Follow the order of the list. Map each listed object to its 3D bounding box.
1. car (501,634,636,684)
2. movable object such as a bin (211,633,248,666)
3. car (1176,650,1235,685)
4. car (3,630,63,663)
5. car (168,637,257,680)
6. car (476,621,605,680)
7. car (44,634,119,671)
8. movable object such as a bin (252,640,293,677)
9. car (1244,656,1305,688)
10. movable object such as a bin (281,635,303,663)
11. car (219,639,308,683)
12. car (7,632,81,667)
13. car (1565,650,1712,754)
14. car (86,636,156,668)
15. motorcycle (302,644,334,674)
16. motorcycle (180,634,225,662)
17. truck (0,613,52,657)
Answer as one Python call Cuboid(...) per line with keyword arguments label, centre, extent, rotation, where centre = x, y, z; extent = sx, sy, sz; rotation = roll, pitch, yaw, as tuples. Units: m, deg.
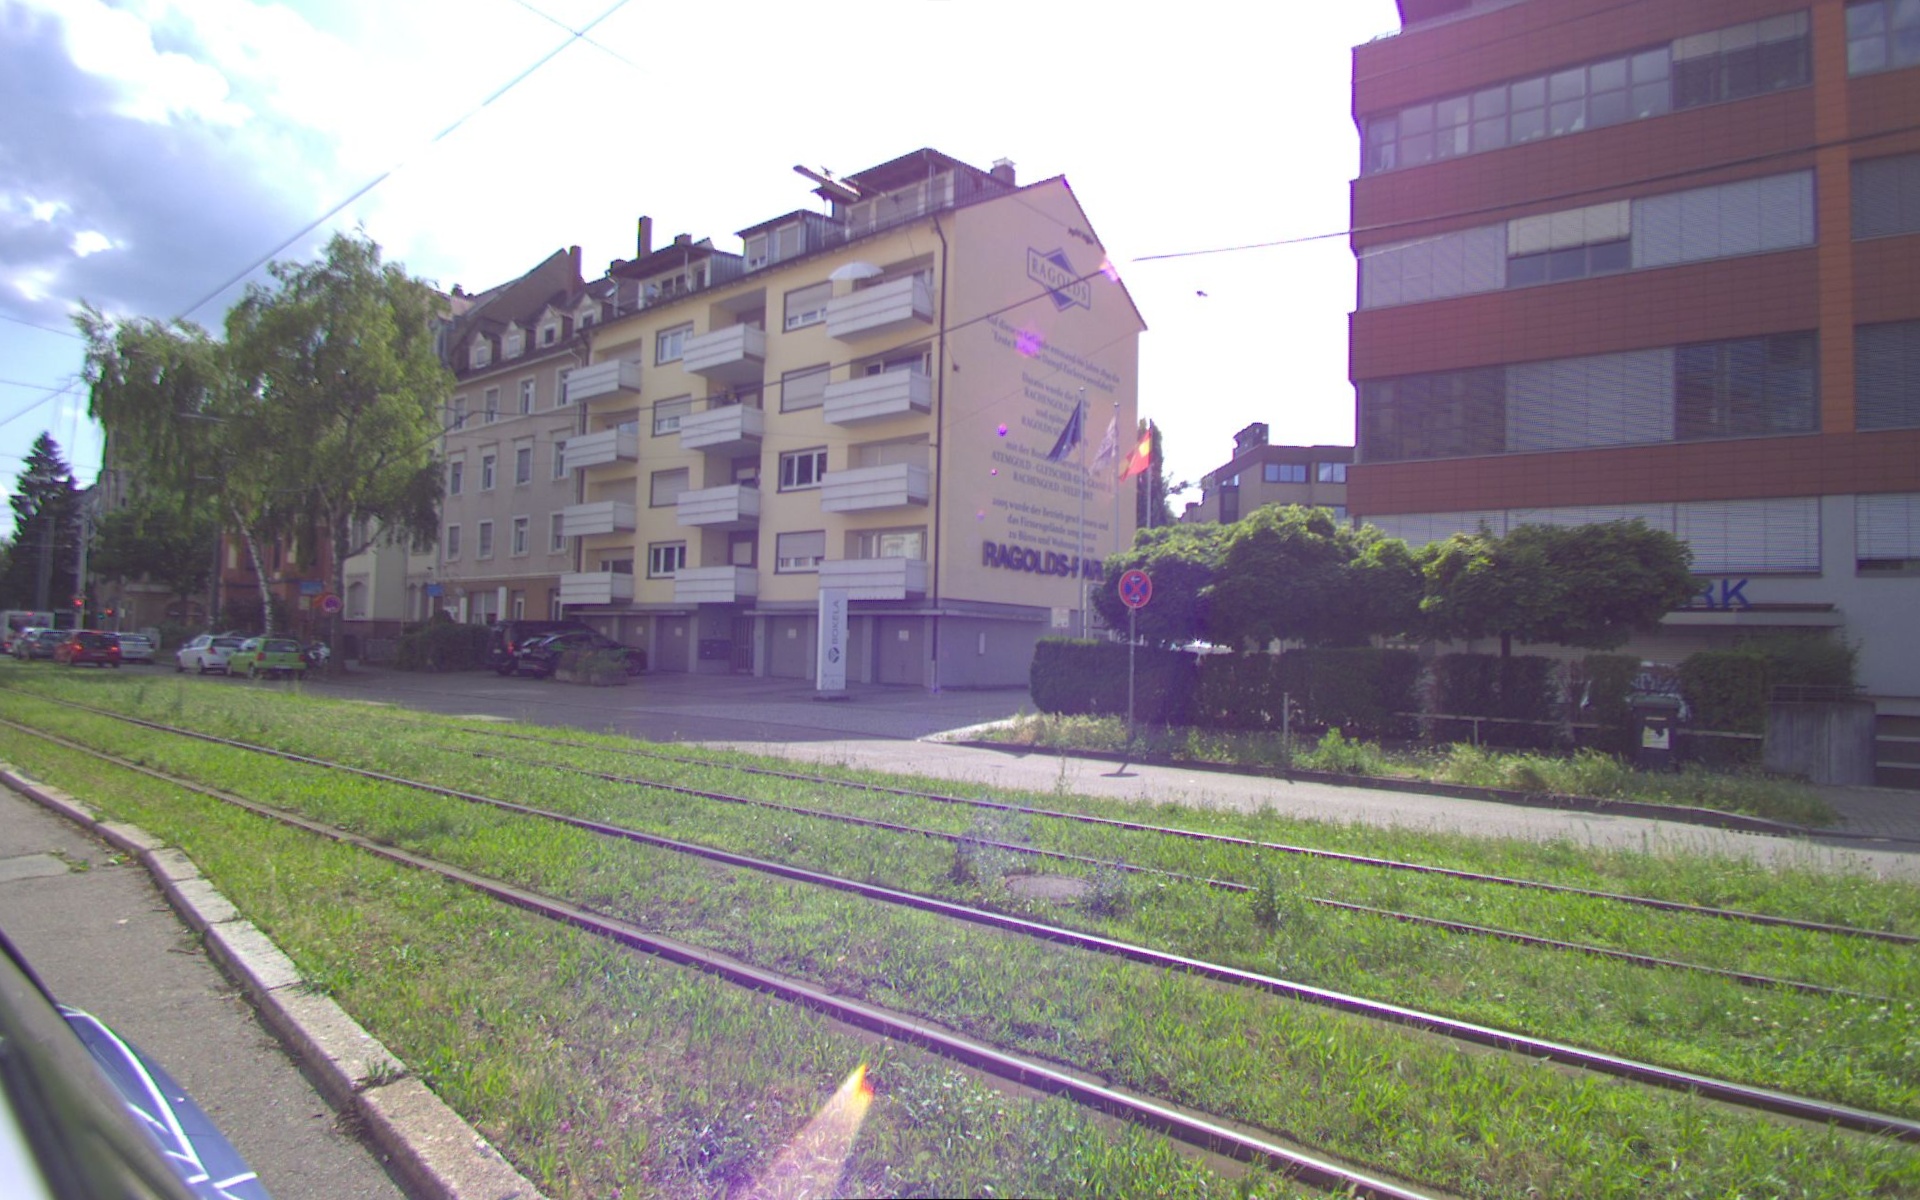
Cuboid(label="car", centre=(-13.583, 2.012, 35.260), extent=(1.970, 1.614, 3.948), rotation=(-1, -2, 38))
Cuboid(label="movable object such as a bin", centre=(-32.885, 2.206, 45.545), extent=(1.519, 1.377, 0.942), rotation=(-1, 1, 38))
Cuboid(label="car", centre=(13.366, 3.675, 55.369), extent=(1.743, 1.827, 4.007), rotation=(2, -3, -9))
Cuboid(label="car", centre=(-45.339, 2.263, 49.462), extent=(4.133, 1.425, 1.736), rotation=(-1, -6, 43))
Cuboid(label="car", centre=(-28.572, 2.201, 38.636), extent=(4.221, 1.489, 1.628), rotation=(-1, -6, 39))
Cuboid(label="car", centre=(-15.382, 1.821, 37.224), extent=(1.936, 2.029, 3.944), rotation=(-1, -2, 42))
Cuboid(label="car", centre=(-35.103, 2.083, 40.415), extent=(3.689, 1.397, 1.563), rotation=(-1, -5, 39))
Cuboid(label="movable object such as a bin", centre=(-27.987, 2.360, 41.180), extent=(1.519, 1.441, 0.942), rotation=(-1, -2, 38))
Cuboid(label="car", centre=(17.991, 4.123, 58.130), extent=(1.743, 1.708, 4.007), rotation=(2, -3, -9))
Cuboid(label="movable object such as a bin", centre=(-32.384, 2.374, 49.063), extent=(0.698, 1.372, 0.667), rotation=(-1, -4, 35))
Cuboid(label="car", centre=(-24.505, 2.133, 35.558), extent=(3.611, 1.443, 1.578), rotation=(-1, -5, 40))
Cuboid(label="car", centre=(-40.636, 2.169, 44.864), extent=(4.509, 1.366, 1.737), rotation=(-1, -6, 40))
Cuboid(label="car", centre=(12.273, 1.756, 18.310), extent=(1.996, 1.608, 3.952), rotation=(-1, -4, 35))
Cuboid(label="car", centre=(-38.938, 2.406, 46.945), extent=(3.992, 1.366, 1.737), rotation=(-1, -5, 40))
Cuboid(label="motorcycle", centre=(-24.416, 2.228, 38.479), extent=(1.630, 1.050, 0.494), rotation=(0, 0, 38))
Cuboid(label="motorcycle", centre=(-35.221, 2.244, 47.044), extent=(2.287, 1.252, 0.893), rotation=(-1, -4, 33))
Cuboid(label="truck", centre=(-52.157, 1.934, 56.003), extent=(6.612, 2.231, 2.161), rotation=(-2, -5, 43))
